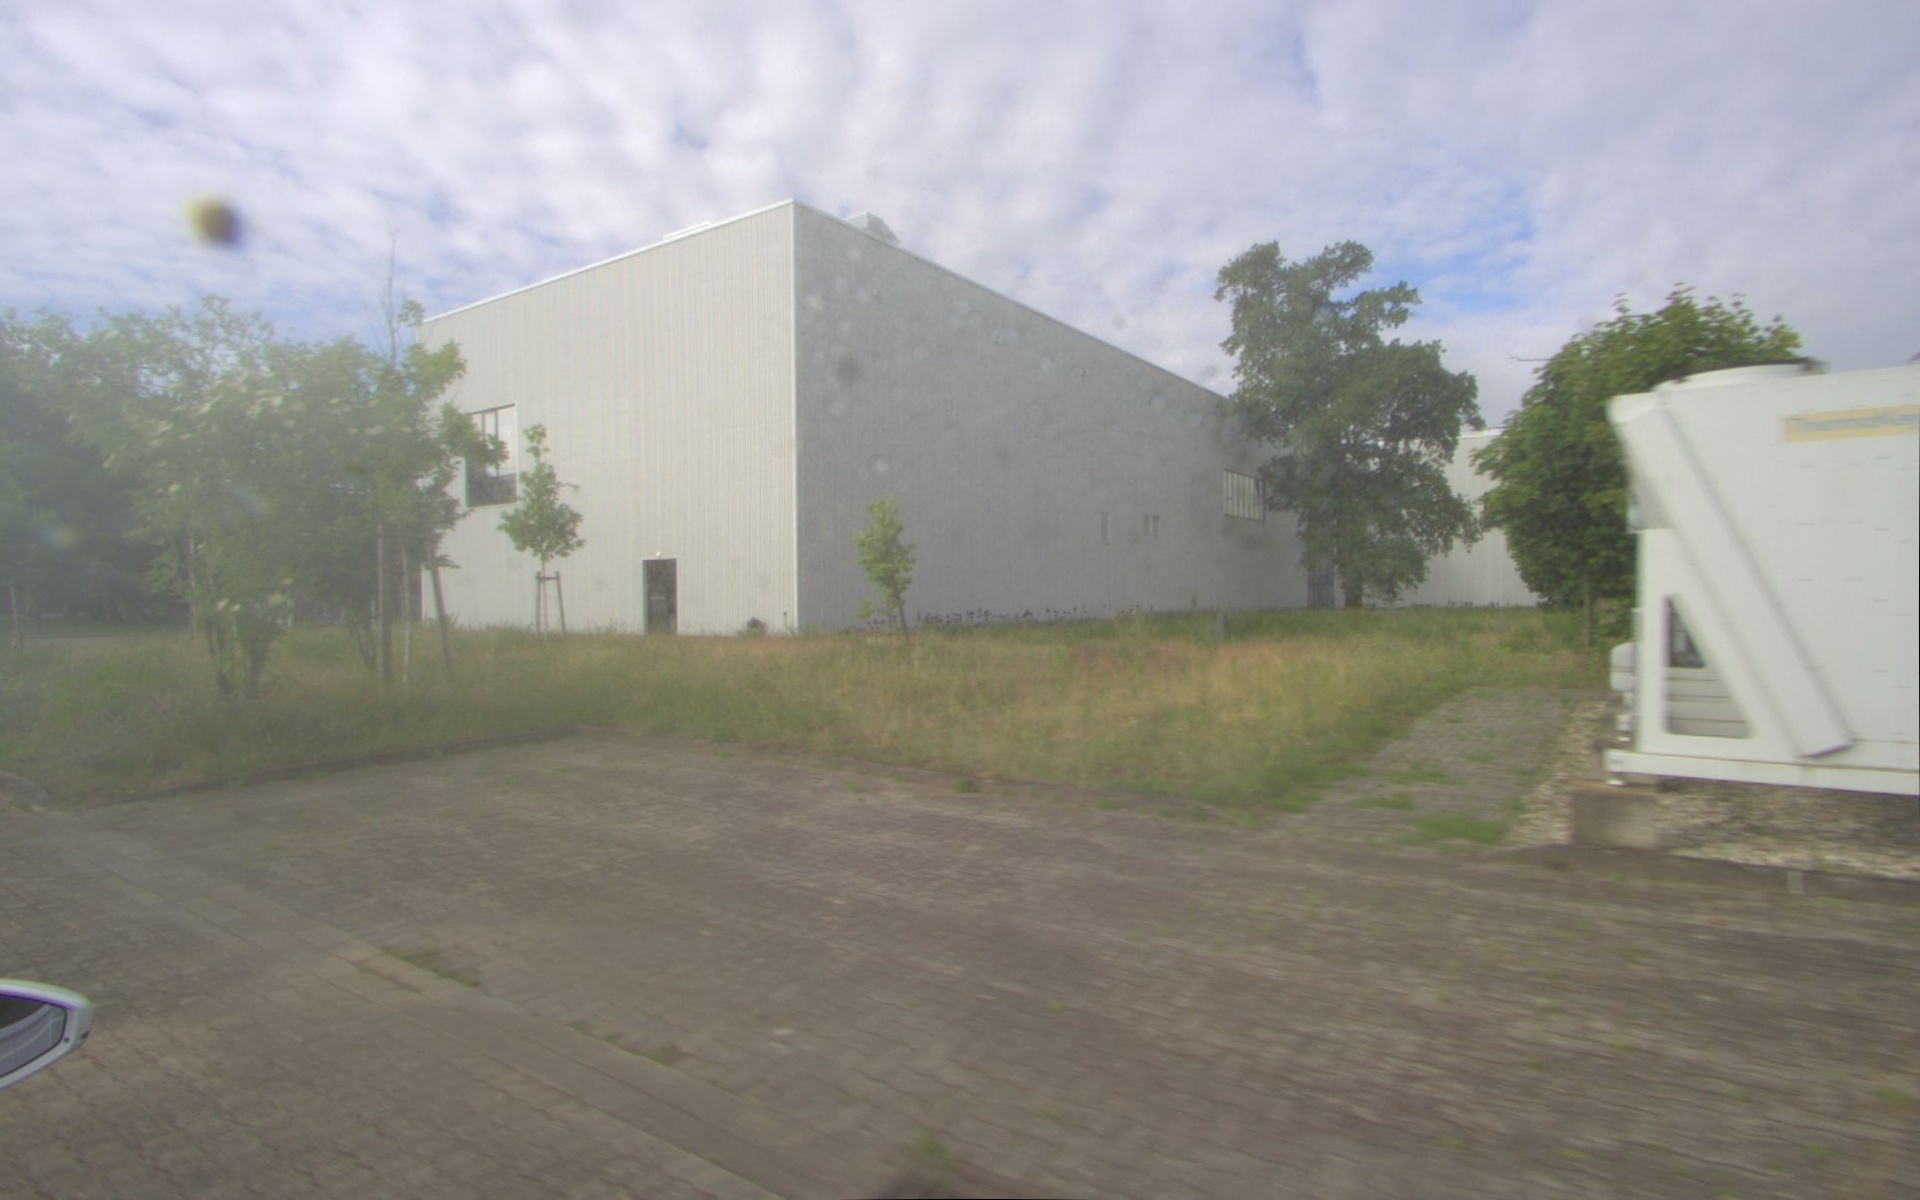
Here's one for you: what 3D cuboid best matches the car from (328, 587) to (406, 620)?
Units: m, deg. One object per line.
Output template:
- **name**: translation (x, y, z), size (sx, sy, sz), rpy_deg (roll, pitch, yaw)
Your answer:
- **car**: translation (-37.398, 0.206, 63.145), size (5.263, 2.040, 2.235), rpy_deg (0, 1, 35)
